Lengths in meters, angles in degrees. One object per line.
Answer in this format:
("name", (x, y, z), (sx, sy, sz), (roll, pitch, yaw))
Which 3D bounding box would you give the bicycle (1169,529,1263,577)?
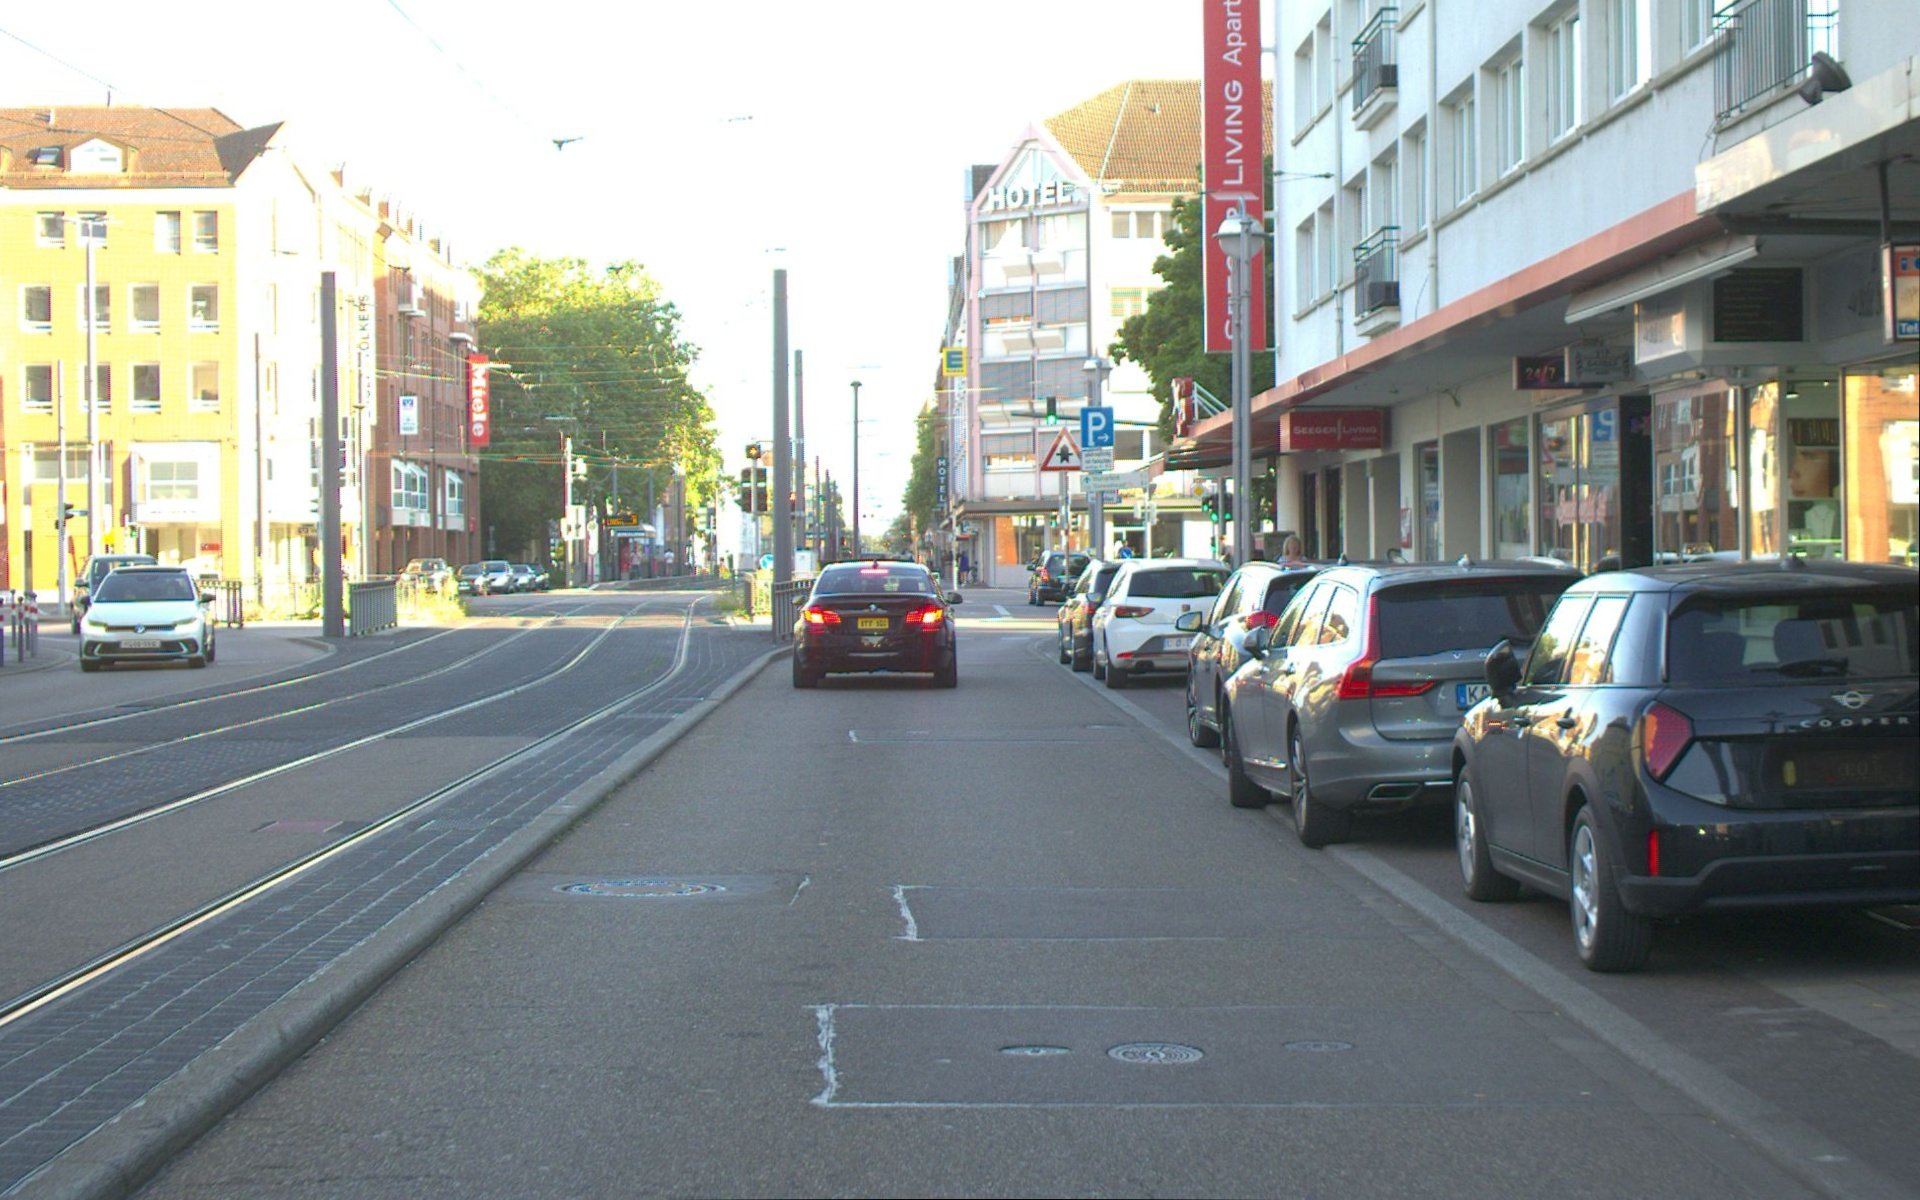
("bicycle", (5.506, -1.021, 74.163), (0.838, 1.016, 2.077), (-1, 1, -38))

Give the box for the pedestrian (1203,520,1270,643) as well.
("pedestrian", (3.914, -0.266, 48.680), (0.827, 1.712, 0.843), (-2, 1, 0))

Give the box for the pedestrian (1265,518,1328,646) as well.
("pedestrian", (4.667, -0.260, 47.736), (0.728, 1.735, 0.863), (-2, 1, 0))

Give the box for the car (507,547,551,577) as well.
("car", (-23.067, -2.052, 184.126), (1.993, 1.579, 4.480), (-1, 1, -3))

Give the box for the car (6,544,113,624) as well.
("car", (-17.891, -0.341, 68.436), (1.735, 1.507, 4.036), (-1, 1, -10))

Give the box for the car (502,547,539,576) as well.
("car", (-22.573, -1.991, 176.605), (1.669, 1.443, 4.202), (0, 1, -4))

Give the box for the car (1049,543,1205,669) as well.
("car", (2.142, 0.038, 45.144), (1.735, 1.507, 4.686), (-2, 1, -1))

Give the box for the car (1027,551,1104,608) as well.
("car", (2.956, -0.608, 97.261), (1.993, 1.546, 4.000), (-1, 1, -1))

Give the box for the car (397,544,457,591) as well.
("car", (-22.038, -1.359, 142.298), (1.993, 1.895, 4.812), (-1, 1, -4))

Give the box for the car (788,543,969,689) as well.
("car", (-0.943, 0.144, 40.243), (1.993, 1.579, 4.000), (-1, 1, -1))

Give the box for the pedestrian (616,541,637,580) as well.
("pedestrian", (-17.386, -2.054, 179.155), (0.988, 2.007, 0.726), (1, 0, -2))

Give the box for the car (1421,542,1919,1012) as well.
("car", (2.959, 0.554, 13.449), (1.685, 1.507, 4.035), (-2, 1, -1))

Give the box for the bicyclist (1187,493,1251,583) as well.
("bicyclist", (5.582, -1.334, 74.085), (0.838, 1.910, 1.114), (-1, 1, -38))

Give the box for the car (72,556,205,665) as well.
("car", (-12.038, 0.119, 50.446), (1.805, 1.507, 4.036), (-1, 1, -13))

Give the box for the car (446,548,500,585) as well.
("car", (-21.689, -1.512, 153.257), (1.993, 1.579, 4.588), (-1, 1, -3))

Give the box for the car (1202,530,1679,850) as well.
("car", (2.522, 0.400, 19.181), (1.789, 1.507, 4.712), (-2, 1, -2))

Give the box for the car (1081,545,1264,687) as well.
("car", (2.413, 0.143, 39.853), (1.785, 1.507, 4.052), (-2, 1, -1))

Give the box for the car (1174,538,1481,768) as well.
("car", (2.642, 0.325, 25.612), (1.735, 1.507, 4.304), (-2, 1, -1))
